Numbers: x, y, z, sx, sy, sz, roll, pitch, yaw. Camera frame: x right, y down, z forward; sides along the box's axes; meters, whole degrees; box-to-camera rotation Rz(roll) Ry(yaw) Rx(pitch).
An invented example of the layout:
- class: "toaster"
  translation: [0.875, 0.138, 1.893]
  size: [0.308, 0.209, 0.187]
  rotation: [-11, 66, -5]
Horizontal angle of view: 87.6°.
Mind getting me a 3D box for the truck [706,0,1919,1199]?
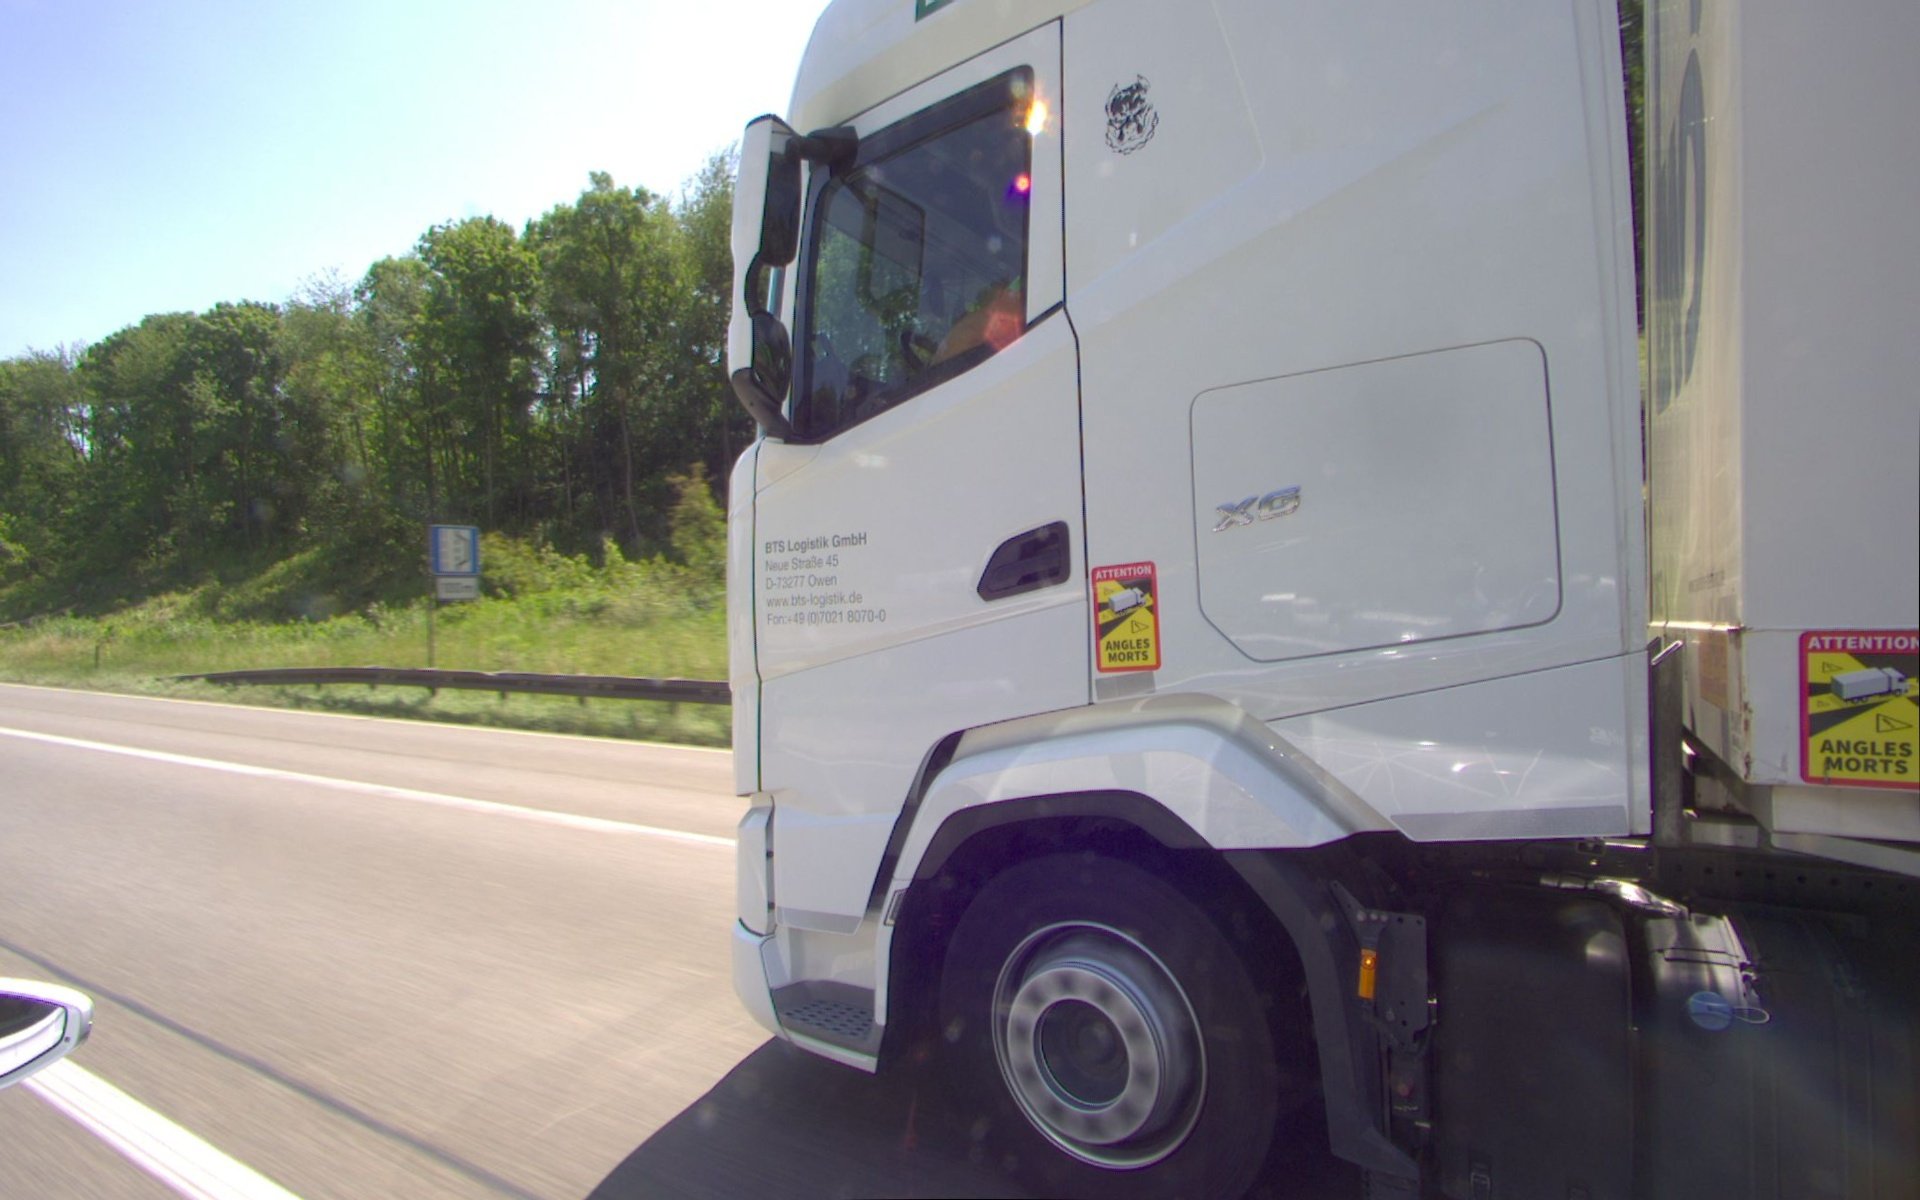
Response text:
- class: "truck"
  translation: [4.404, -0.603, 1.249]
  size: [10.472, 4.113, 2.675]
  rotation: [1, 0, 32]
